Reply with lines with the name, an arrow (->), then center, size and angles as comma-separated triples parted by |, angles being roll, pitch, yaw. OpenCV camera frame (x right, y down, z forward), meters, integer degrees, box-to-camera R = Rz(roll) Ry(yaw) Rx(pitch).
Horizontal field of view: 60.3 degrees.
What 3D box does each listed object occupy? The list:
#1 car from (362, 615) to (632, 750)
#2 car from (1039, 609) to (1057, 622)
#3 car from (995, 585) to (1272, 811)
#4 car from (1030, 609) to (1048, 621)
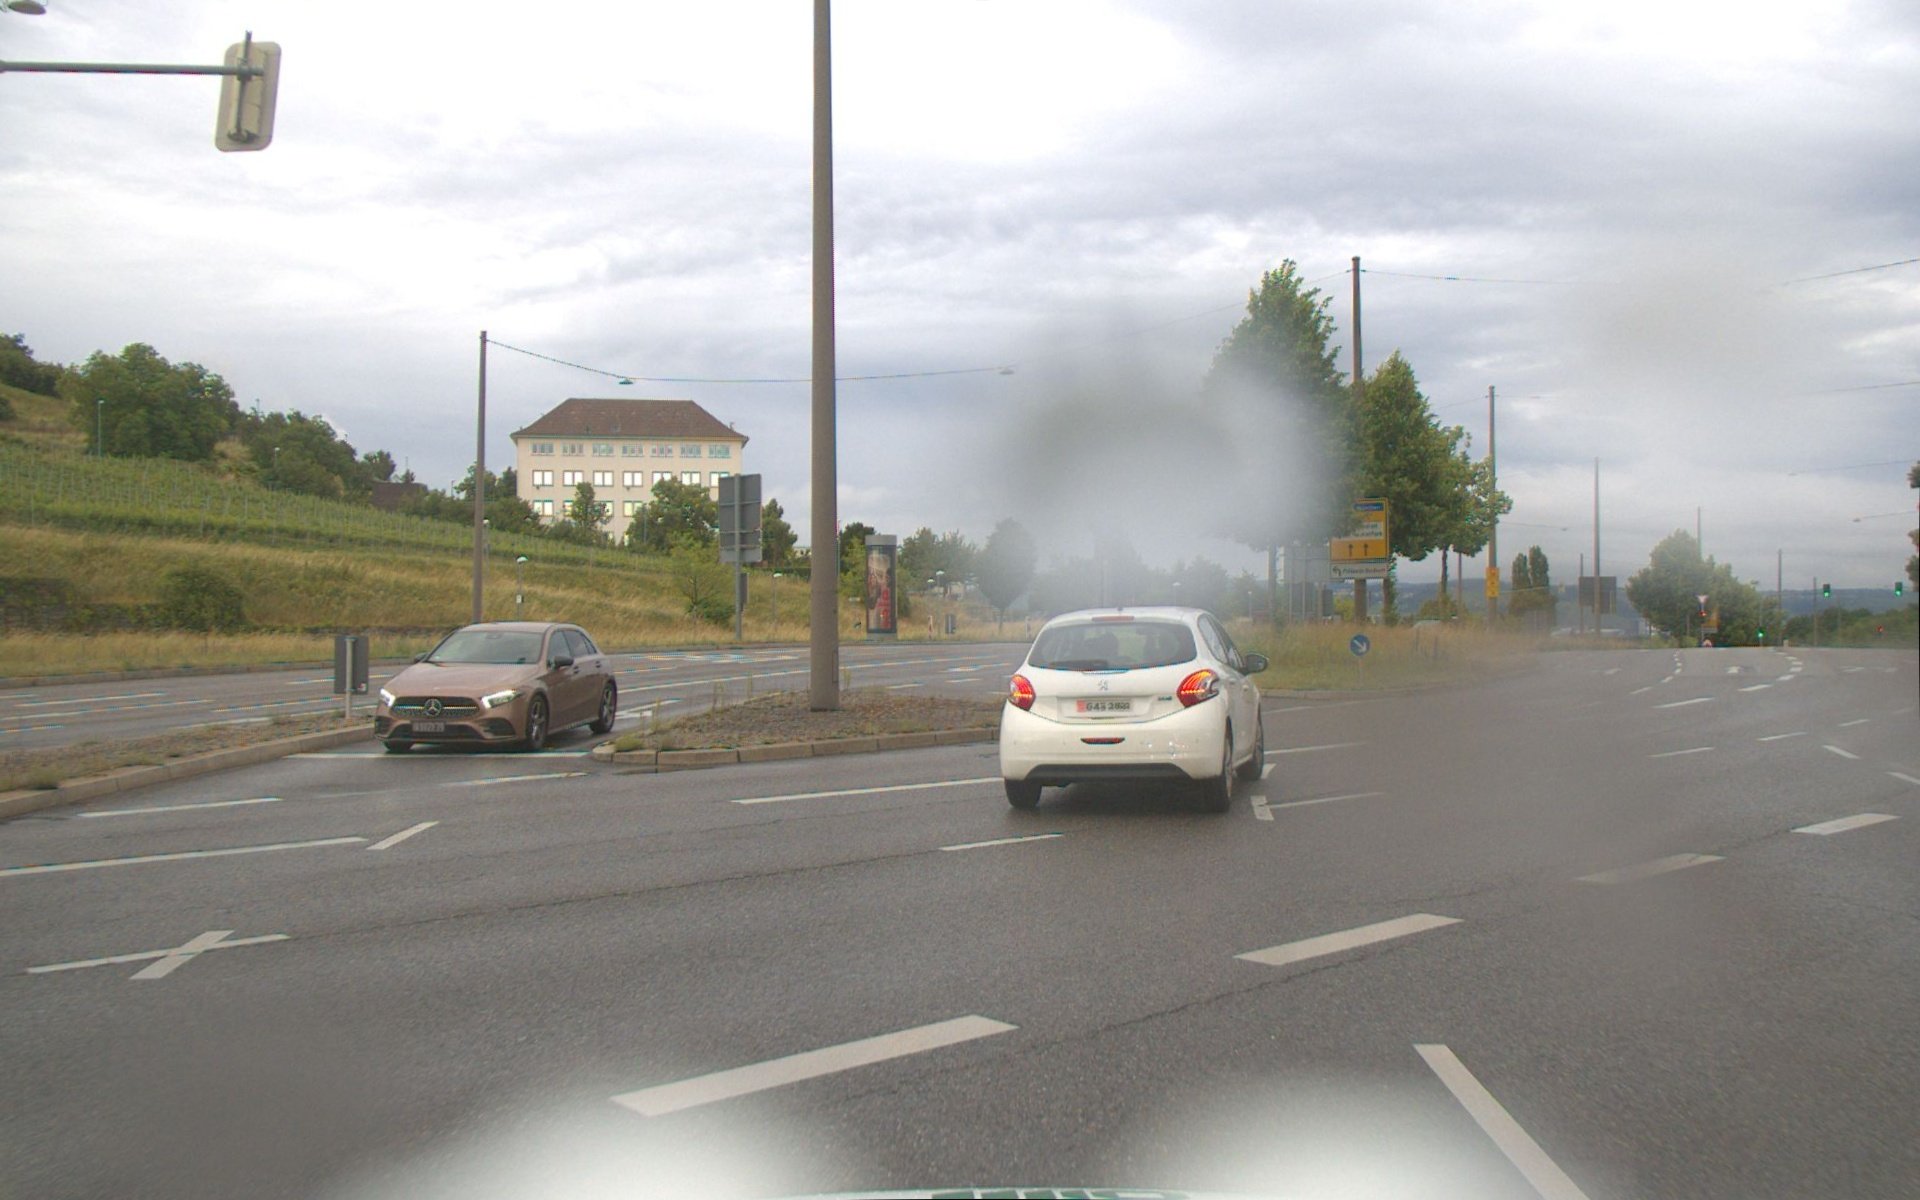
car -> -5.450, 0.920, 20.088 | 1.738, 1.450, 4.376 | -1, -1, 5
car -> 10.335, 1.797, 194.702 | 1.804, 1.512, 3.998 | 0, 0, -3
car -> 1.546, 0.679, 13.350 | 1.681, 1.515, 4.003 | 1, 0, 14
car -> 9.664, 1.834, 203.078 | 1.804, 1.512, 3.998 | 0, 0, -3
